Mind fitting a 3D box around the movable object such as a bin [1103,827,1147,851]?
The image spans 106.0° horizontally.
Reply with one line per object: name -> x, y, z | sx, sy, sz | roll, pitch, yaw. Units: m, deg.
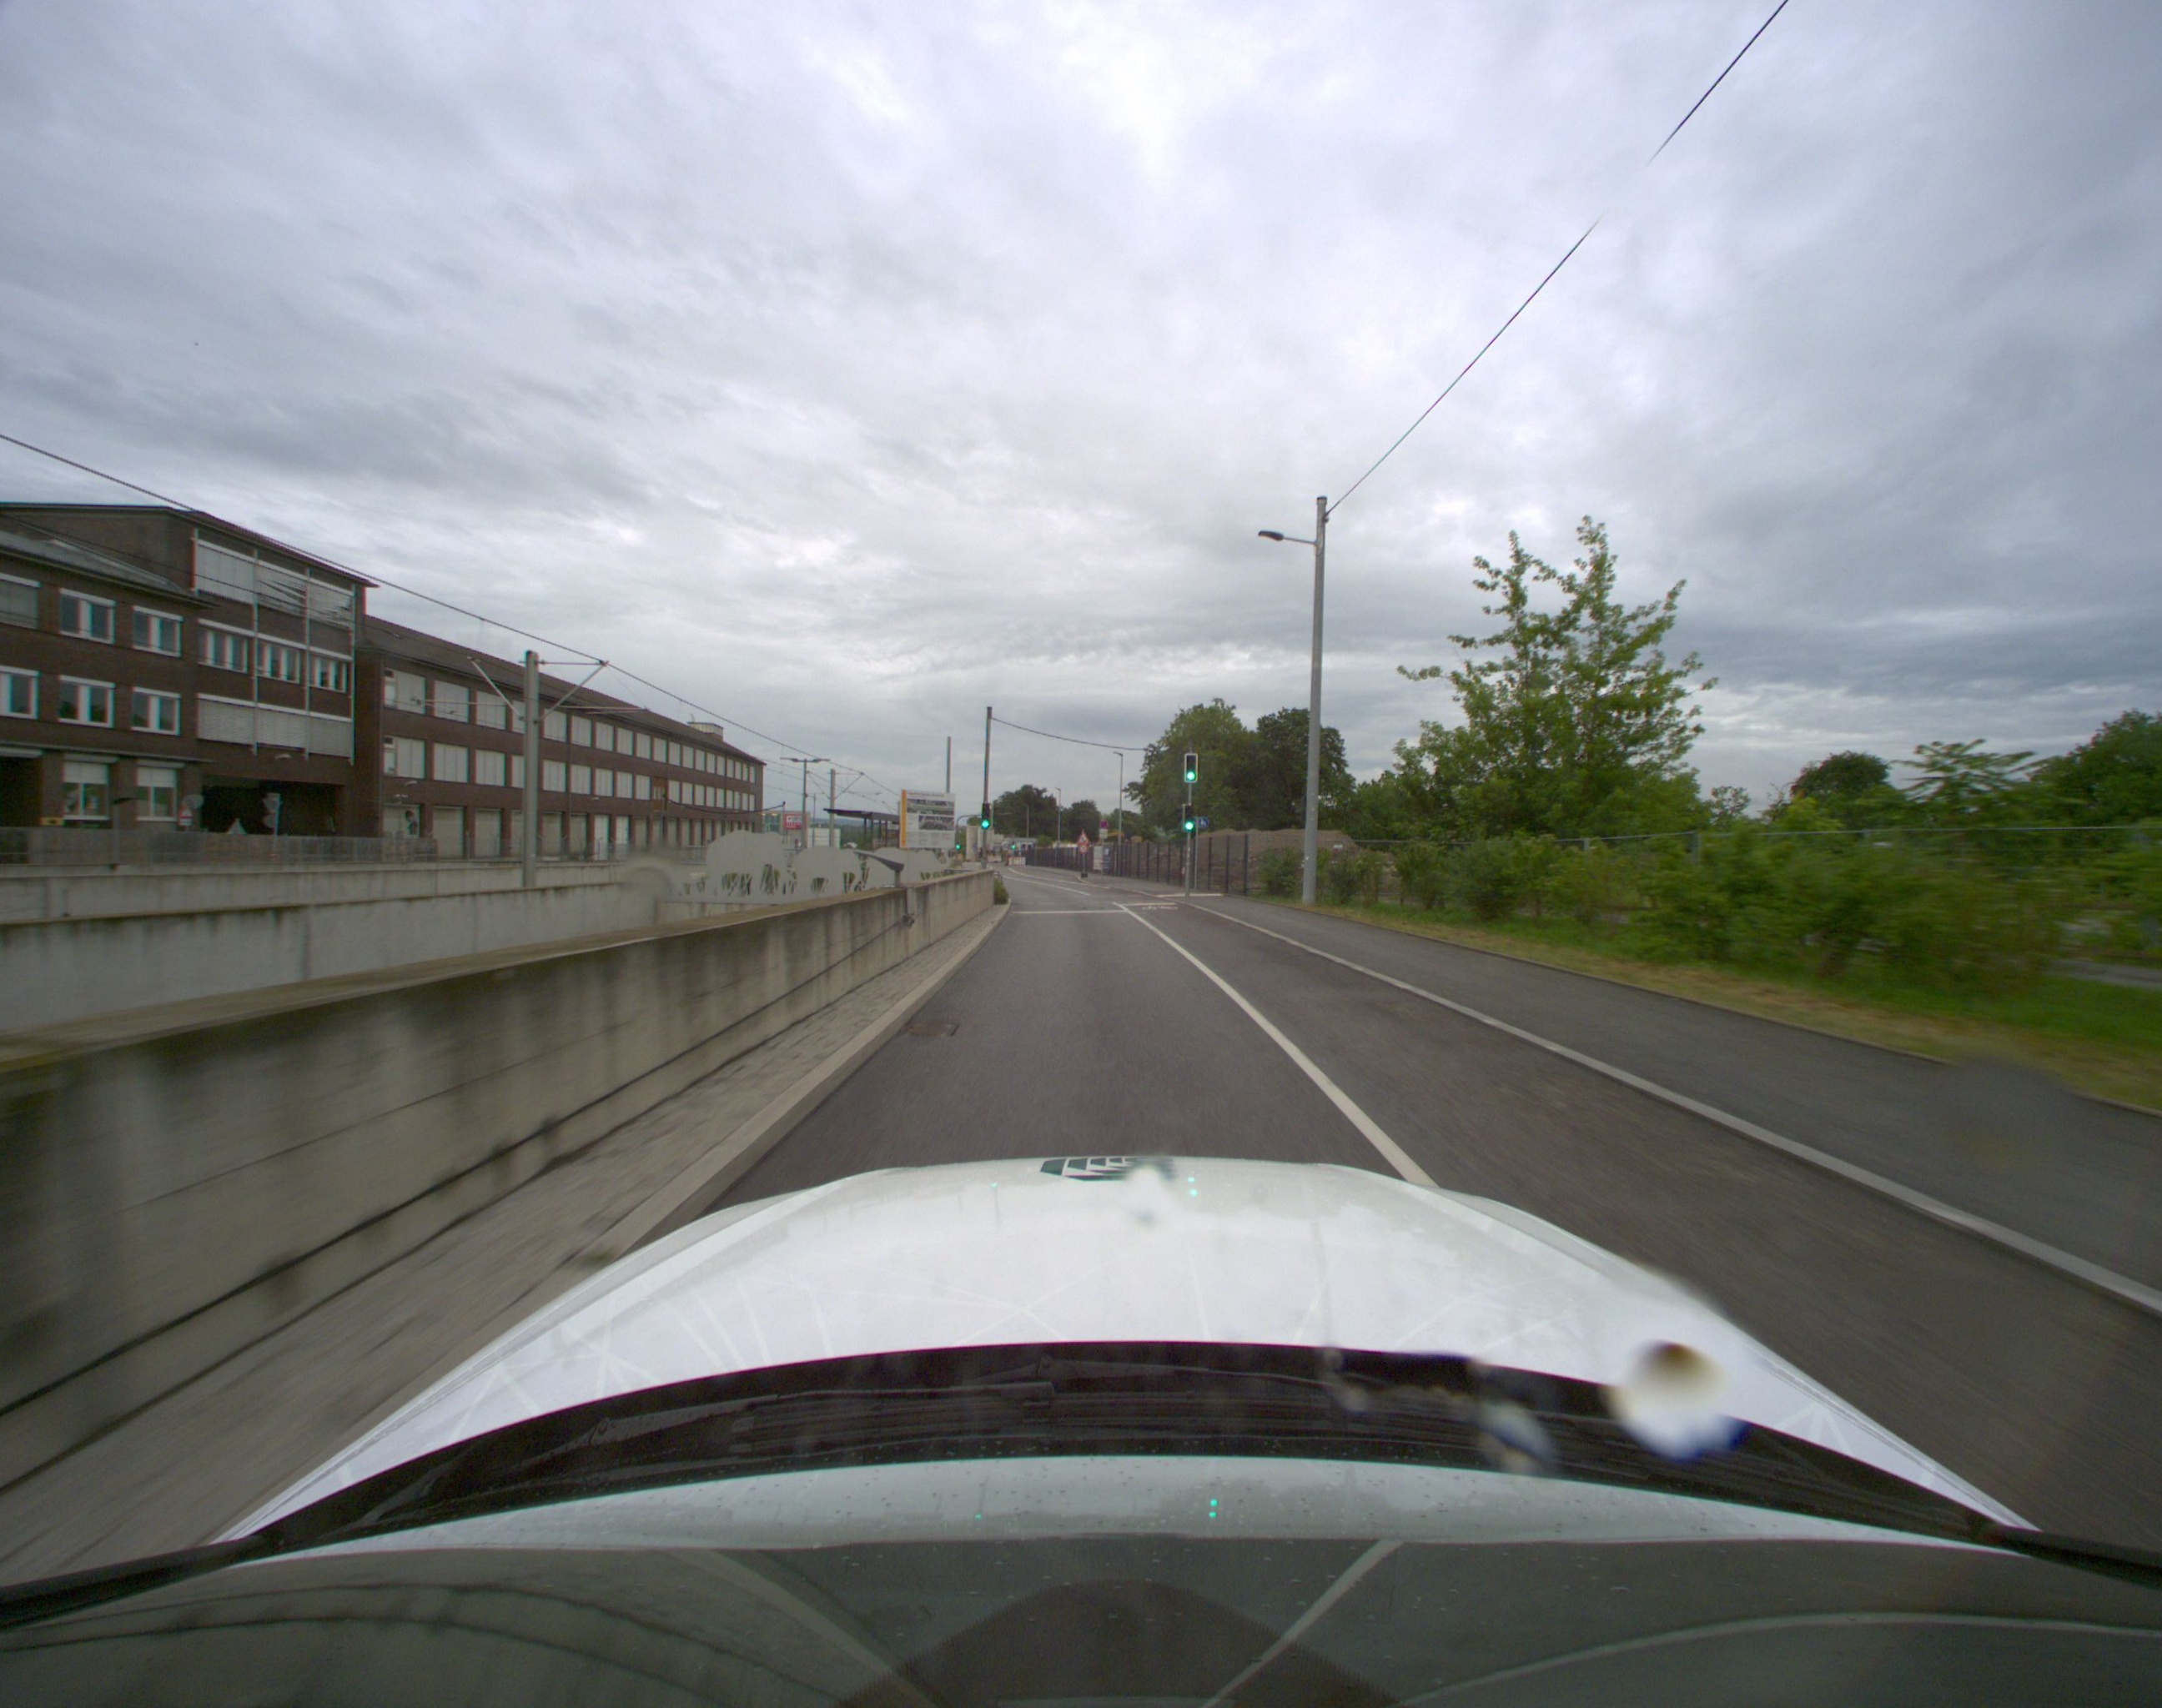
movable object such as a bin -> 11.457, -3.826, 212.050 | 11.205, 5.995, 3.487 | 0, -1, -3

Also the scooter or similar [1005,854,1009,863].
scooter or similar -> -11.293, 0.673, 124.057 | 0.614, 1.351, 1.909 | 0, 0, -4

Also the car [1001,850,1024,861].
car -> -10.922, 0.222, 130.123 | 1.804, 1.794, 4.431 | 0, 0, 20
